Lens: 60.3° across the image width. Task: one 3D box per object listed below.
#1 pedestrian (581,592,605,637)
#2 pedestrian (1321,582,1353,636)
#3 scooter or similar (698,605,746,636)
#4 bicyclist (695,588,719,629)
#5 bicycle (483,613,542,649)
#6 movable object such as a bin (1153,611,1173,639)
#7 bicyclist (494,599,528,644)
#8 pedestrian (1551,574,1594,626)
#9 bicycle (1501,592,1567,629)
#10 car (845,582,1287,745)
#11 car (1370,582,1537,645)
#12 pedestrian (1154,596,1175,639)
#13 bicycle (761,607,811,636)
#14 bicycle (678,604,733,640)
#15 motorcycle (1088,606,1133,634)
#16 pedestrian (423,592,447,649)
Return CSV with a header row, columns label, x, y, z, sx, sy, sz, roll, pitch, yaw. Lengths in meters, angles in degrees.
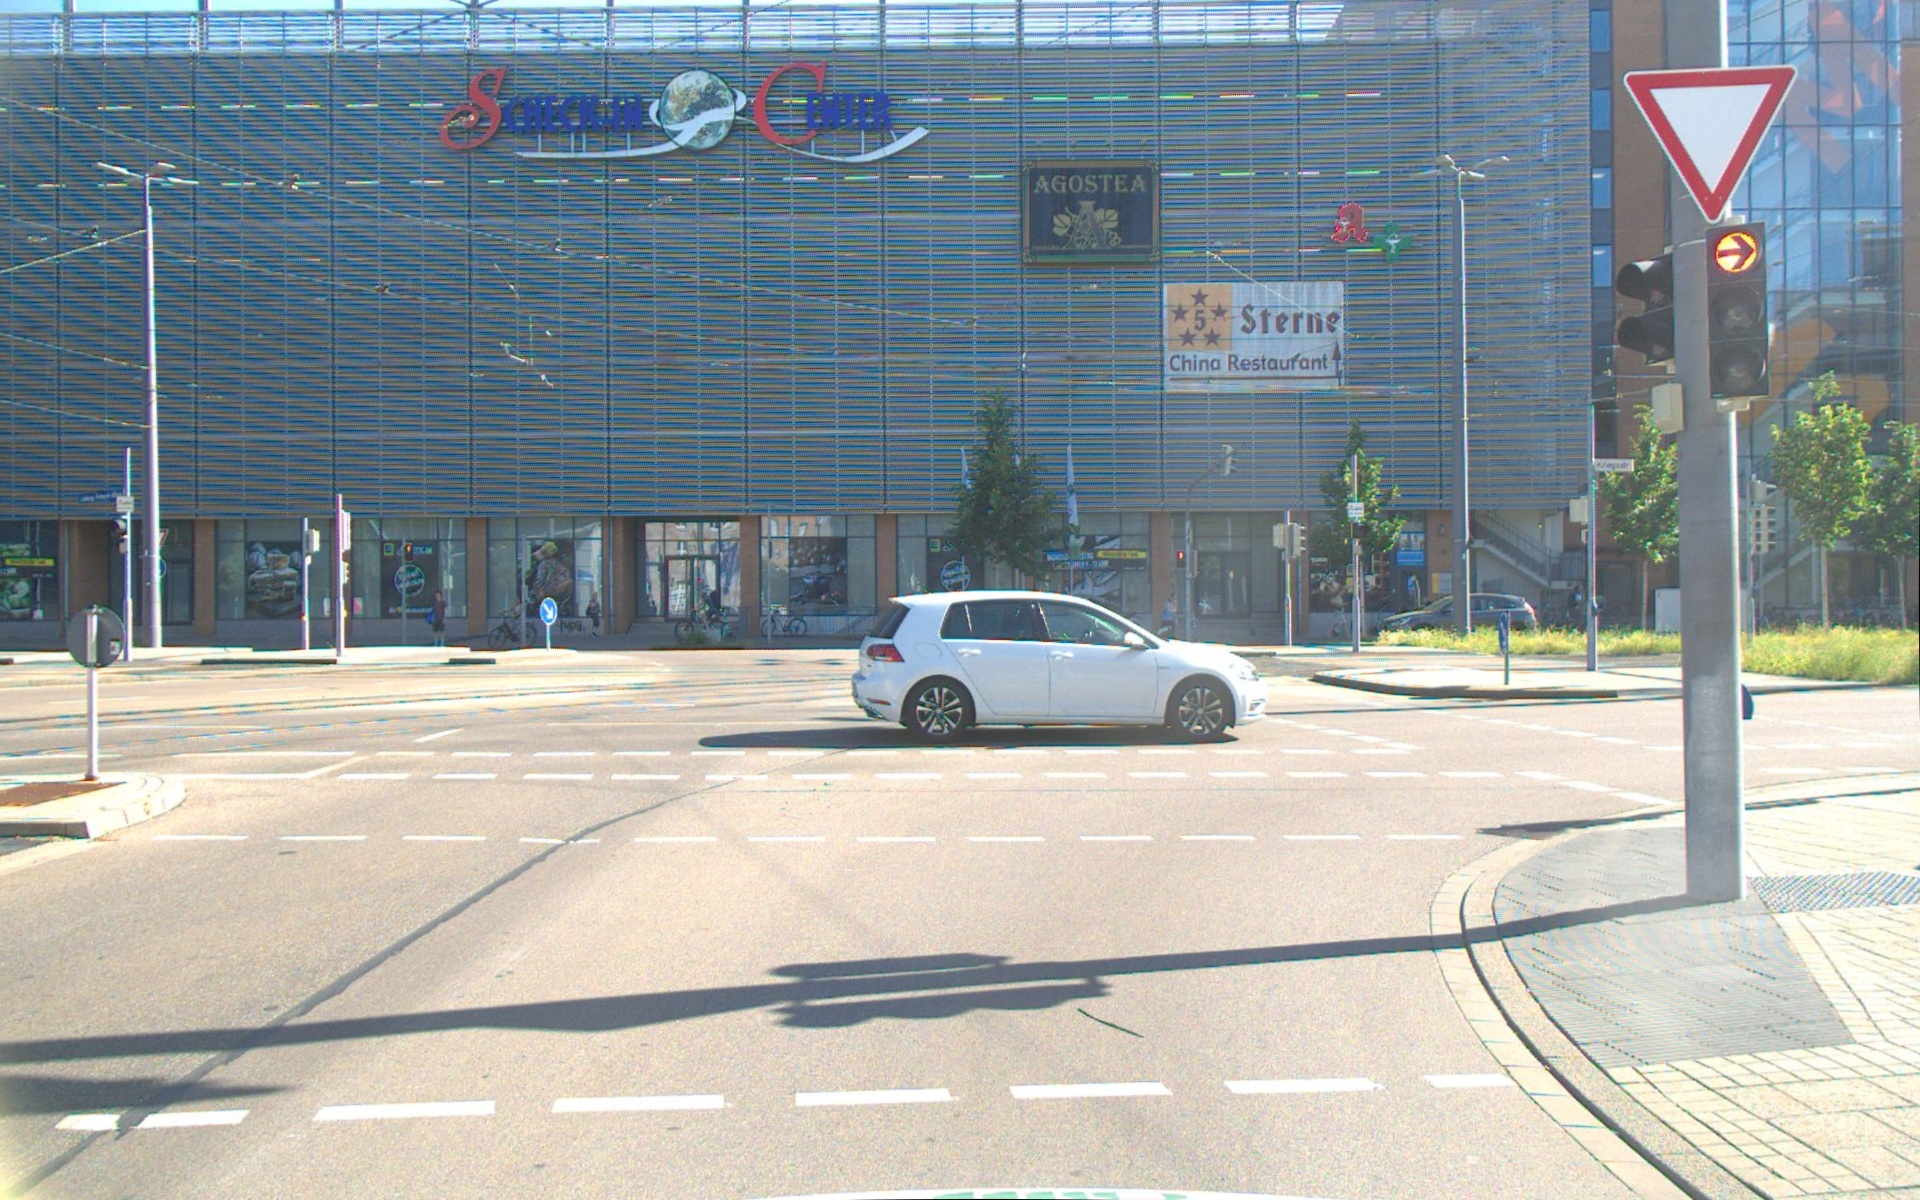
label,x,y,z,sx,sy,sz,roll,pitch,yaw
pedestrian,-13.504,0.526,60.881,0.646,1.629,0.594,1,-1,18
pedestrian,13.436,0.327,59.027,0.930,1.860,0.846,-2,-4,5
scooter or similar,-8.745,0.752,60.773,1.759,1.085,0.611,0,1,-9
bicyclist,-8.898,0.293,58.106,0.738,1.410,0.565,-1,1,-1
bicycle,-14.766,1.011,54.612,0.559,1.105,1.852,0,2,42
movable object such as a bin,6.743,0.835,54.891,0.599,0.920,0.970,1,0,10
bicyclist,-14.798,0.694,54.537,0.663,1.452,0.844,0,2,42
pedestrian,22.347,-0.005,60.345,0.999,1.860,1.028,-2,0,-23
bicycle,21.290,0.394,61.347,2.209,1.318,0.605,1,-1,-2
car,0.994,0.586,16.775,4.202,1.498,1.862,-1,0,-8
car,13.716,0.387,46.119,4.063,1.495,1.840,3,-1,-2
pedestrian,6.858,0.581,55.358,0.641,1.438,0.850,1,0,10
bicycle,-6.364,0.783,60.426,1.783,1.006,0.556,0,1,-11
bicycle,-8.928,0.770,58.137,1.819,1.238,0.569,-1,1,-2
motorcycle,5.530,0.731,60.702,1.605,1.022,0.447,1,0,6
pedestrian,-17.337,0.667,54.660,0.683,1.829,0.727,-2,0,-17
